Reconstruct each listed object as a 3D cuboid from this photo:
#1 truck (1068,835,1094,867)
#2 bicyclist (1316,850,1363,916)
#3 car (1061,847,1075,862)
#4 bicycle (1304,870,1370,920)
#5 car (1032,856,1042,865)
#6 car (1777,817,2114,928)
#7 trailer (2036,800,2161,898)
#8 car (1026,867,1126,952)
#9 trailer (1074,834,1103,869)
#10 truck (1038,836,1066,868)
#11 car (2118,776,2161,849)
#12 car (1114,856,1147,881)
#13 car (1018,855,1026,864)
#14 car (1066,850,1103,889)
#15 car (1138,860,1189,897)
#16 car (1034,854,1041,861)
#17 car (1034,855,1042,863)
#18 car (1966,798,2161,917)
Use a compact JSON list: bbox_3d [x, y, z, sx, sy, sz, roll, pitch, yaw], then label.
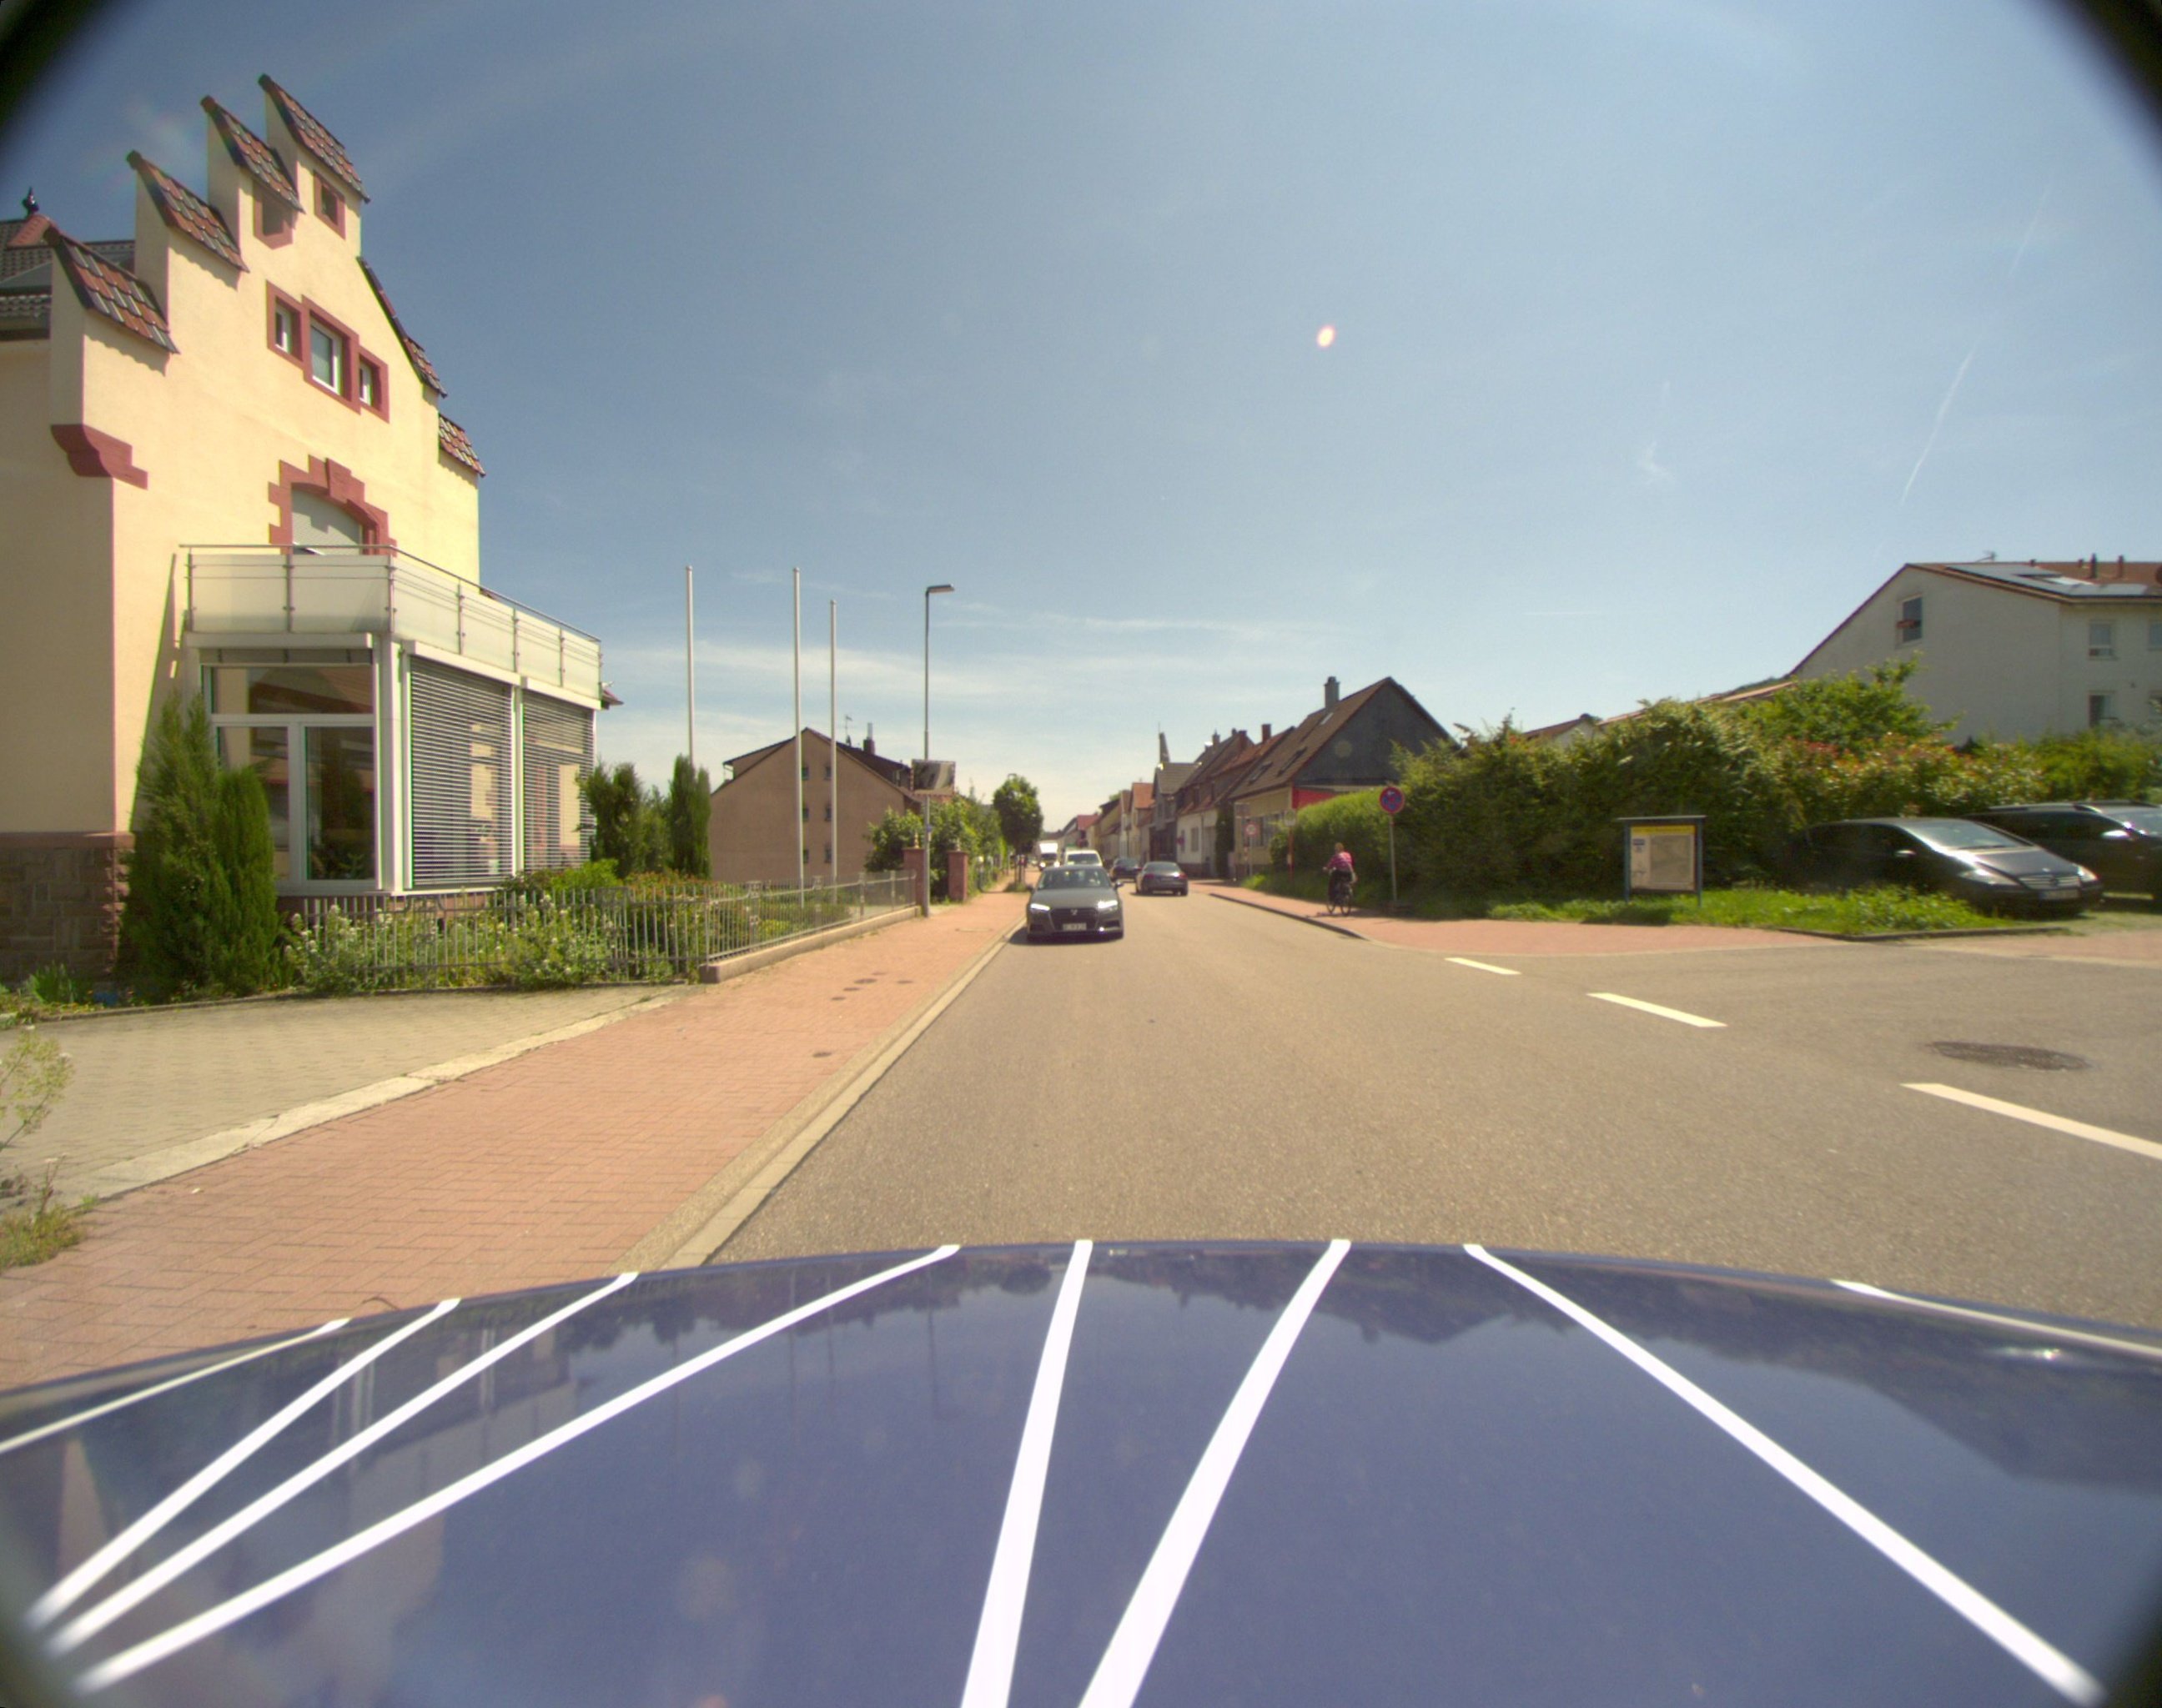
[{"bbox_3d":[-0.110,-0.289,92.799,2.574,3.679,10.074,0,0,-4],"label":"truck"},{"bbox_3d":[6.113,0.668,17.978,0.660,1.485,0.909,-4,1,-6],"label":"bicyclist"},{"bbox_3d":[-2.266,0.133,128.085,2.035,2.446,6.066,0,0,-3],"label":"car"},{"bbox_3d":[6.106,0.961,18.224,0.673,1.050,2.025,-4,0,-6],"label":"bicycle"},{"bbox_3d":[-7.995,1.136,137.751,1.508,1.432,3.534,-3,1,-5],"label":"car"},{"bbox_3d":[14.232,0.259,12.867,1.627,1.532,3.652,-3,0,4],"label":"car"},{"bbox_3d":[19.499,-0.120,13.539,1.430,1.654,2.691,-5,0,-4],"label":"trailer"},{"bbox_3d":[-0.098,1.002,15.235,1.705,1.346,4.000,-2,0,0],"label":"car"},{"bbox_3d":[0.778,-0.271,83.590,2.537,3.627,8.458,0,0,-4],"label":"trailer"},{"bbox_3d":[-3.613,-0.255,91.095,2.899,3.516,12.948,-1,0,-4],"label":"truck"},{"bbox_3d":[27.217,-1.064,17.933,3.639,1.724,1.420,-3,1,-2],"label":"car"},{"bbox_3d":[3.052,0.881,47.232,1.734,1.451,4.694,0,0,0],"label":"car"},{"bbox_3d":[-11.697,1.085,150.213,1.637,1.572,3.568,1,0,-4],"label":"car"},{"bbox_3d":[0.115,0.723,37.256,1.637,1.833,3.569,-1,0,-2],"label":"car"},{"bbox_3d":[3.306,0.951,31.085,1.710,1.362,3.868,1,0,1],"label":"car"},{"bbox_3d":[-9.734,0.815,170.451,1.508,1.432,3.534,-3,1,-5],"label":"car"},{"bbox_3d":[-8.702,0.967,154.159,1.508,1.432,3.534,-3,1,-5],"label":"car"},{"bbox_3d":[16.988,0.009,12.159,1.627,1.769,3.511,-3,0,4],"label":"car"}]
